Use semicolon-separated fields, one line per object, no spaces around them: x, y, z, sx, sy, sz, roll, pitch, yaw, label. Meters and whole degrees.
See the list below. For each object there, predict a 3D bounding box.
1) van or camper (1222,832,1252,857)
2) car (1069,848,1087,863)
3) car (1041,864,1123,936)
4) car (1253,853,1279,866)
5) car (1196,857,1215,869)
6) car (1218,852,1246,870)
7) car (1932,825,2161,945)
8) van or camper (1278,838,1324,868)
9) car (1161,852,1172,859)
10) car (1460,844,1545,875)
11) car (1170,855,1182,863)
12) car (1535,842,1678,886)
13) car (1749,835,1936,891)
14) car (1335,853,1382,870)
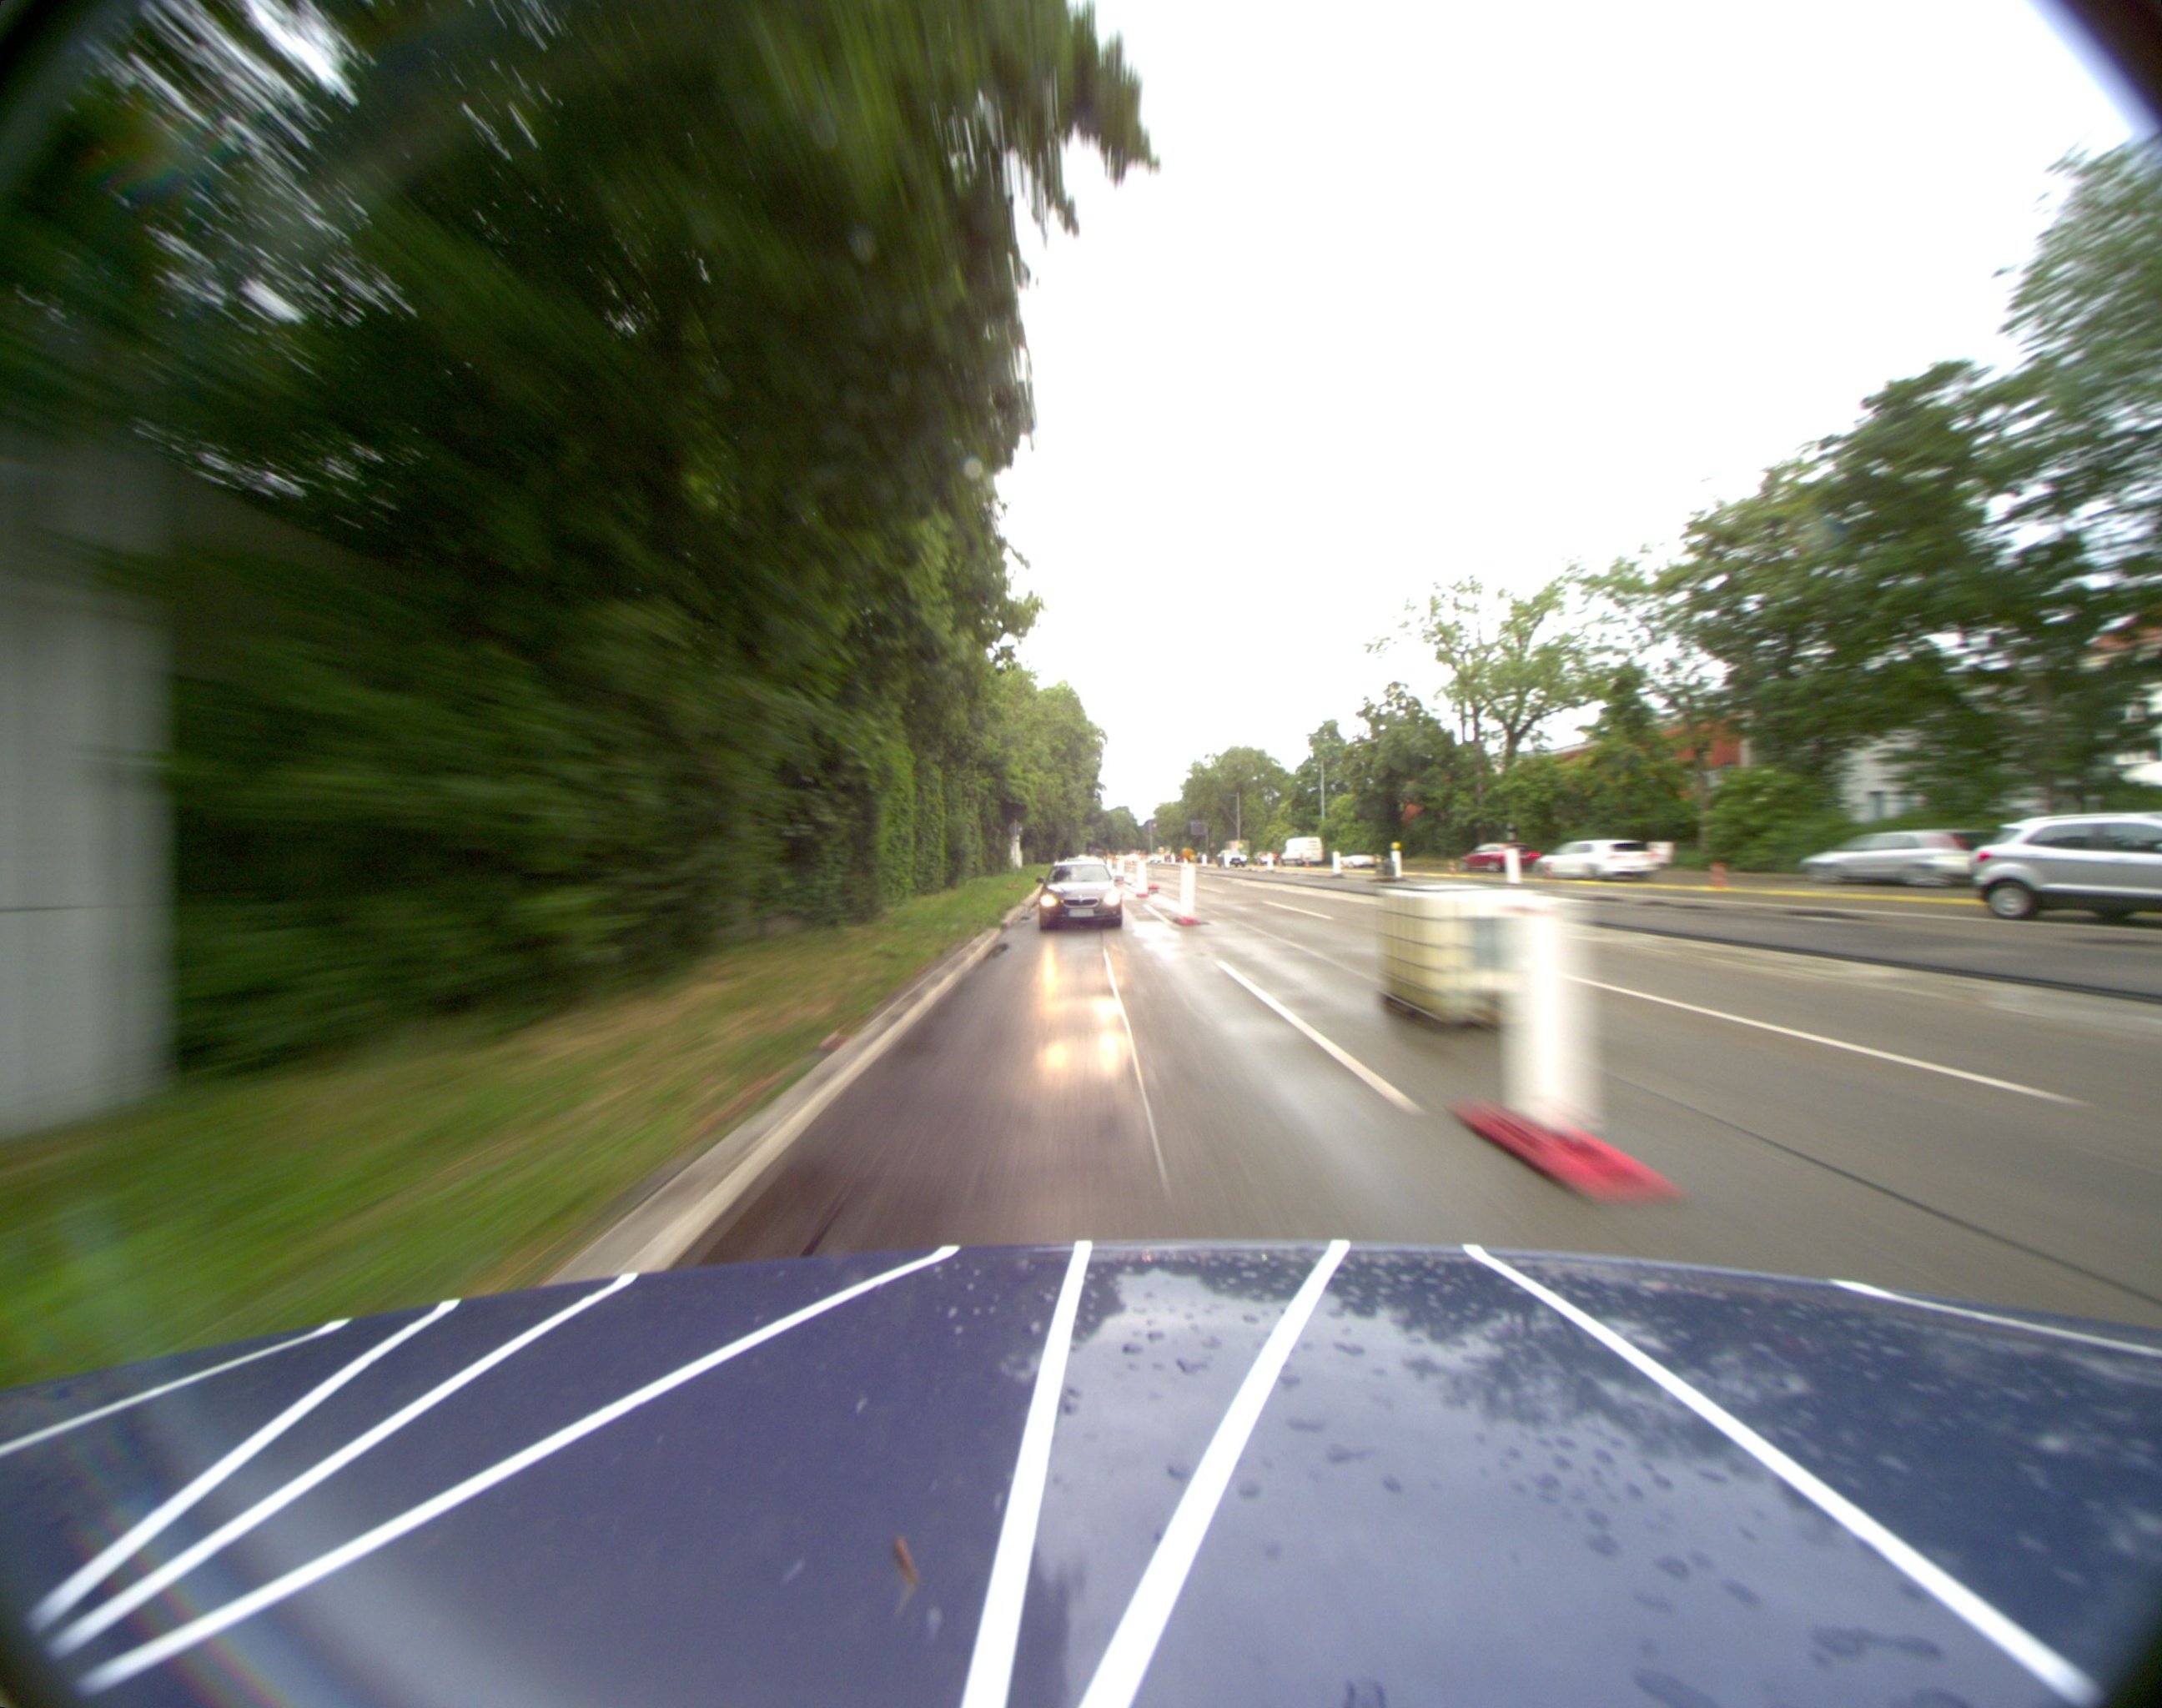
20.559;-1.206;100.395;2.303;3.045;7.451;-2;0;-1;van or camper
-0.352;0.147;89.199;1.998;1.707;4.000;-1;0;2;car
0.006;0.955;17.515;1.658;1.409;4.129;1;0;-1;car
20.039;0.599;82.542;1.720;1.356;4.081;-1;0;-1;car
17.972;1.281;109.951;1.999;1.683;4.806;-1;0;-1;car
14.592;0.649;73.708;1.998;1.619;4.812;-2;0;3;car
15.295;0.384;10.601;1.893;1.555;4.363;-3;0;0;car
20.470;-0.113;71.151;1.998;2.540;7.729;-3;0;0;van or camper
18.932;0.343;168.372;1.893;1.543;4.397;-2;0;-1;car
21.267;0.269;38.575;1.733;1.467;4.486;-1;0;-1;car
17.509;0.947;140.502;1.691;1.434;4.108;-2;0;1;car
18.600;0.325;27.185;1.999;1.407;4.392;-1;0;-1;car
21.451;0.227;21.622;1.683;1.392;3.639;-2;0;1;car
20.736;0.540;57.018;1.694;1.176;3.998;-3;0;-6;car
